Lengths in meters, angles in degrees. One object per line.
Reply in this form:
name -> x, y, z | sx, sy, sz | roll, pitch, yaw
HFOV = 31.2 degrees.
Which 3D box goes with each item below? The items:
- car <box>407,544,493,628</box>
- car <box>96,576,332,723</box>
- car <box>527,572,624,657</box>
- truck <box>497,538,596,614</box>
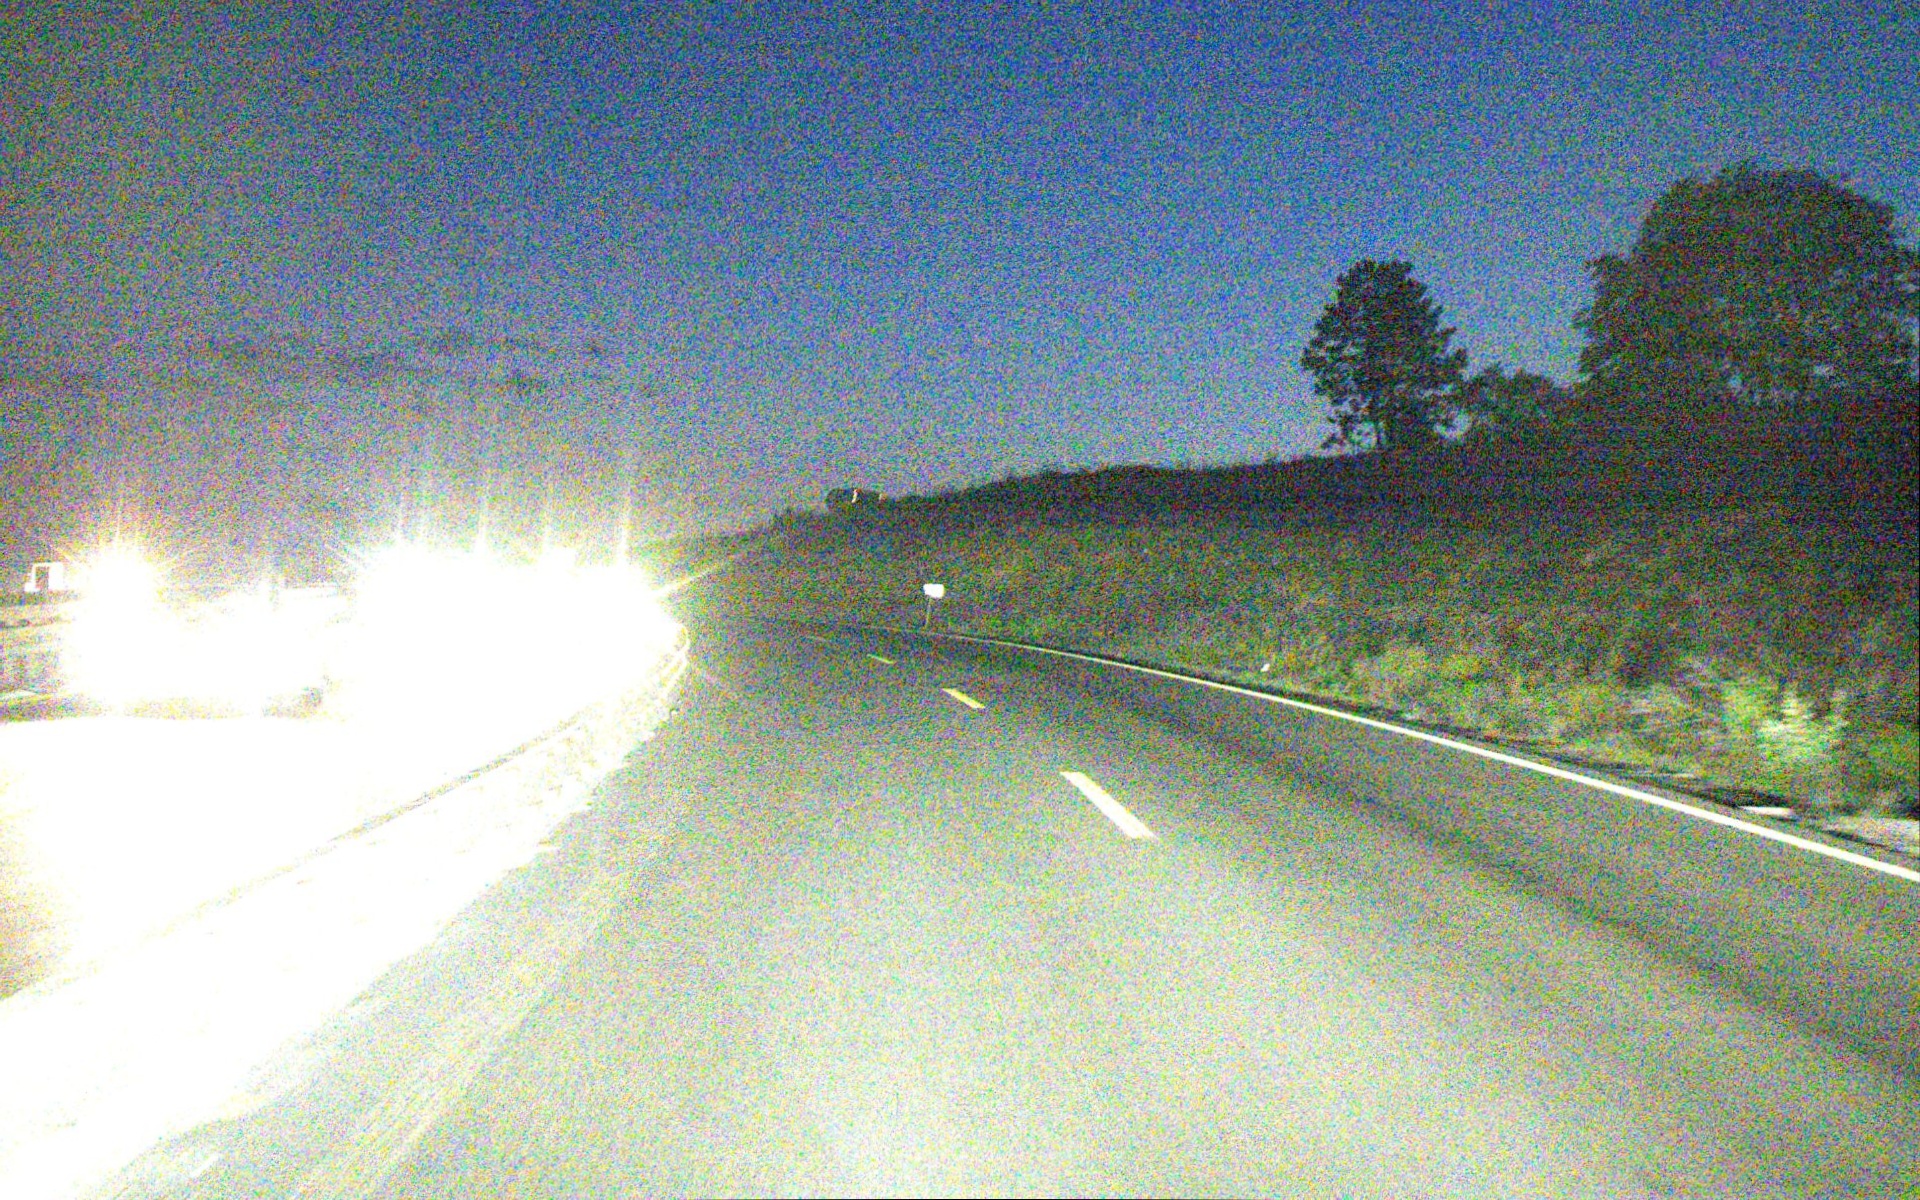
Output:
car -> -12.698, -0.322, 85.810 | 1.993, 2.007, 5.588 | -1, 0, -7
car -> -7.425, 0.476, 34.574 | 1.716, 1.375, 4.244 | 1, 0, -4
car -> -6.959, 0.255, 62.533 | 1.651, 1.464, 4.001 | -1, 0, -5
truck -> -25.686, -1.414, 212.688 | 4.010, 4.536, 13.958 | -1, 0, -15
